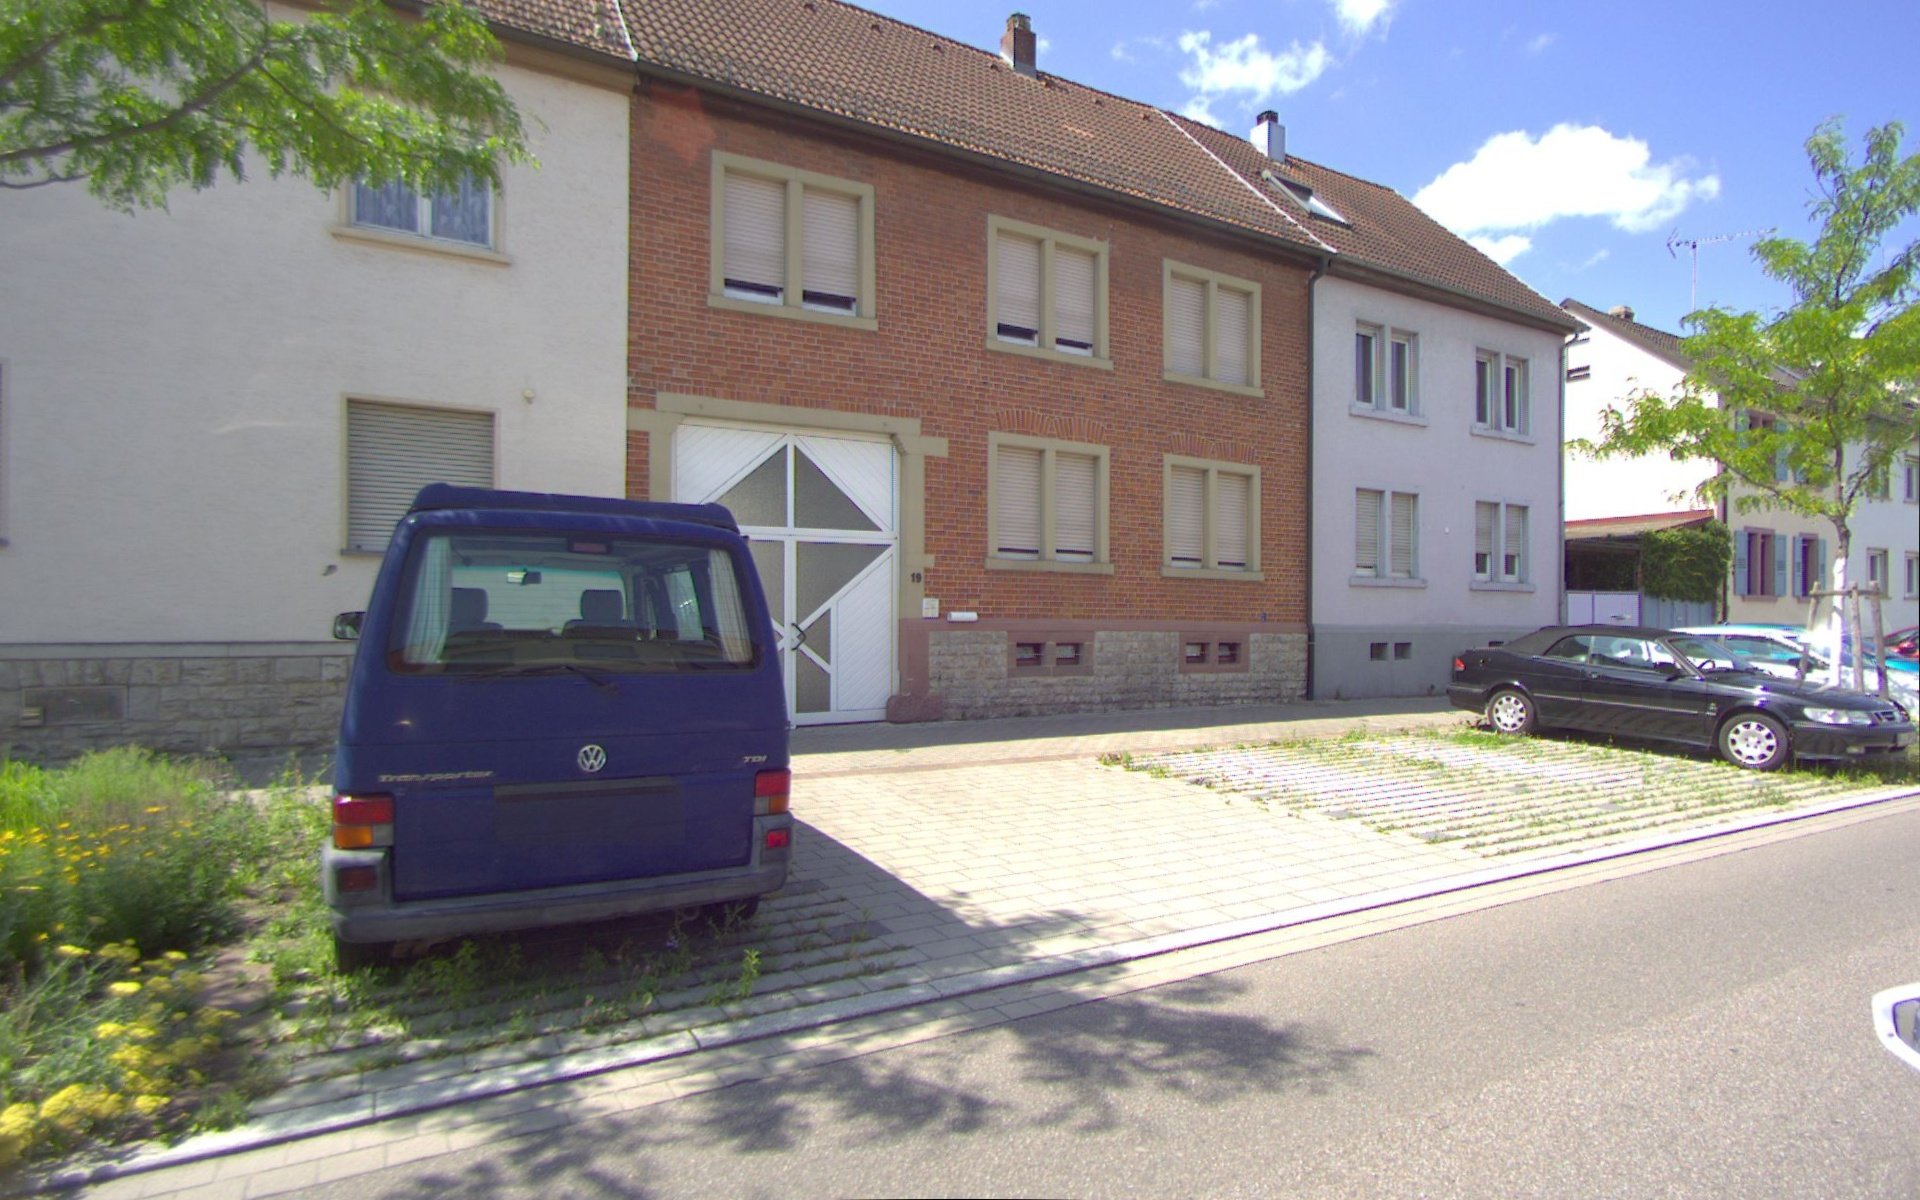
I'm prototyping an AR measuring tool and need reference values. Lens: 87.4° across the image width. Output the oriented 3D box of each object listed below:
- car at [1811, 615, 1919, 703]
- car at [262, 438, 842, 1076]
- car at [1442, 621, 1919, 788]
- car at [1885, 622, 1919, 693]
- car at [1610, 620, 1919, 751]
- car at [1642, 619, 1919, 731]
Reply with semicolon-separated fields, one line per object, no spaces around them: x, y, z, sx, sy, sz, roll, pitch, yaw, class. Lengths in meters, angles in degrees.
19.101;1.146;18.992;1.821;1.633;4.233;1;0;-30;car
-2.404;0.499;5.684;1.928;2.023;4.595;1;0;-28;car
8.278;1.033;11.807;1.774;1.444;4.503;1;0;-30;car
21.463;1.234;20.279;1.736;1.479;3.770;1;0;-32;car
11.611;1.090;13.913;1.756;1.497;4.031;1;0;-32;car
13.573;1.110;15.801;1.757;1.497;4.377;1;0;-33;car
